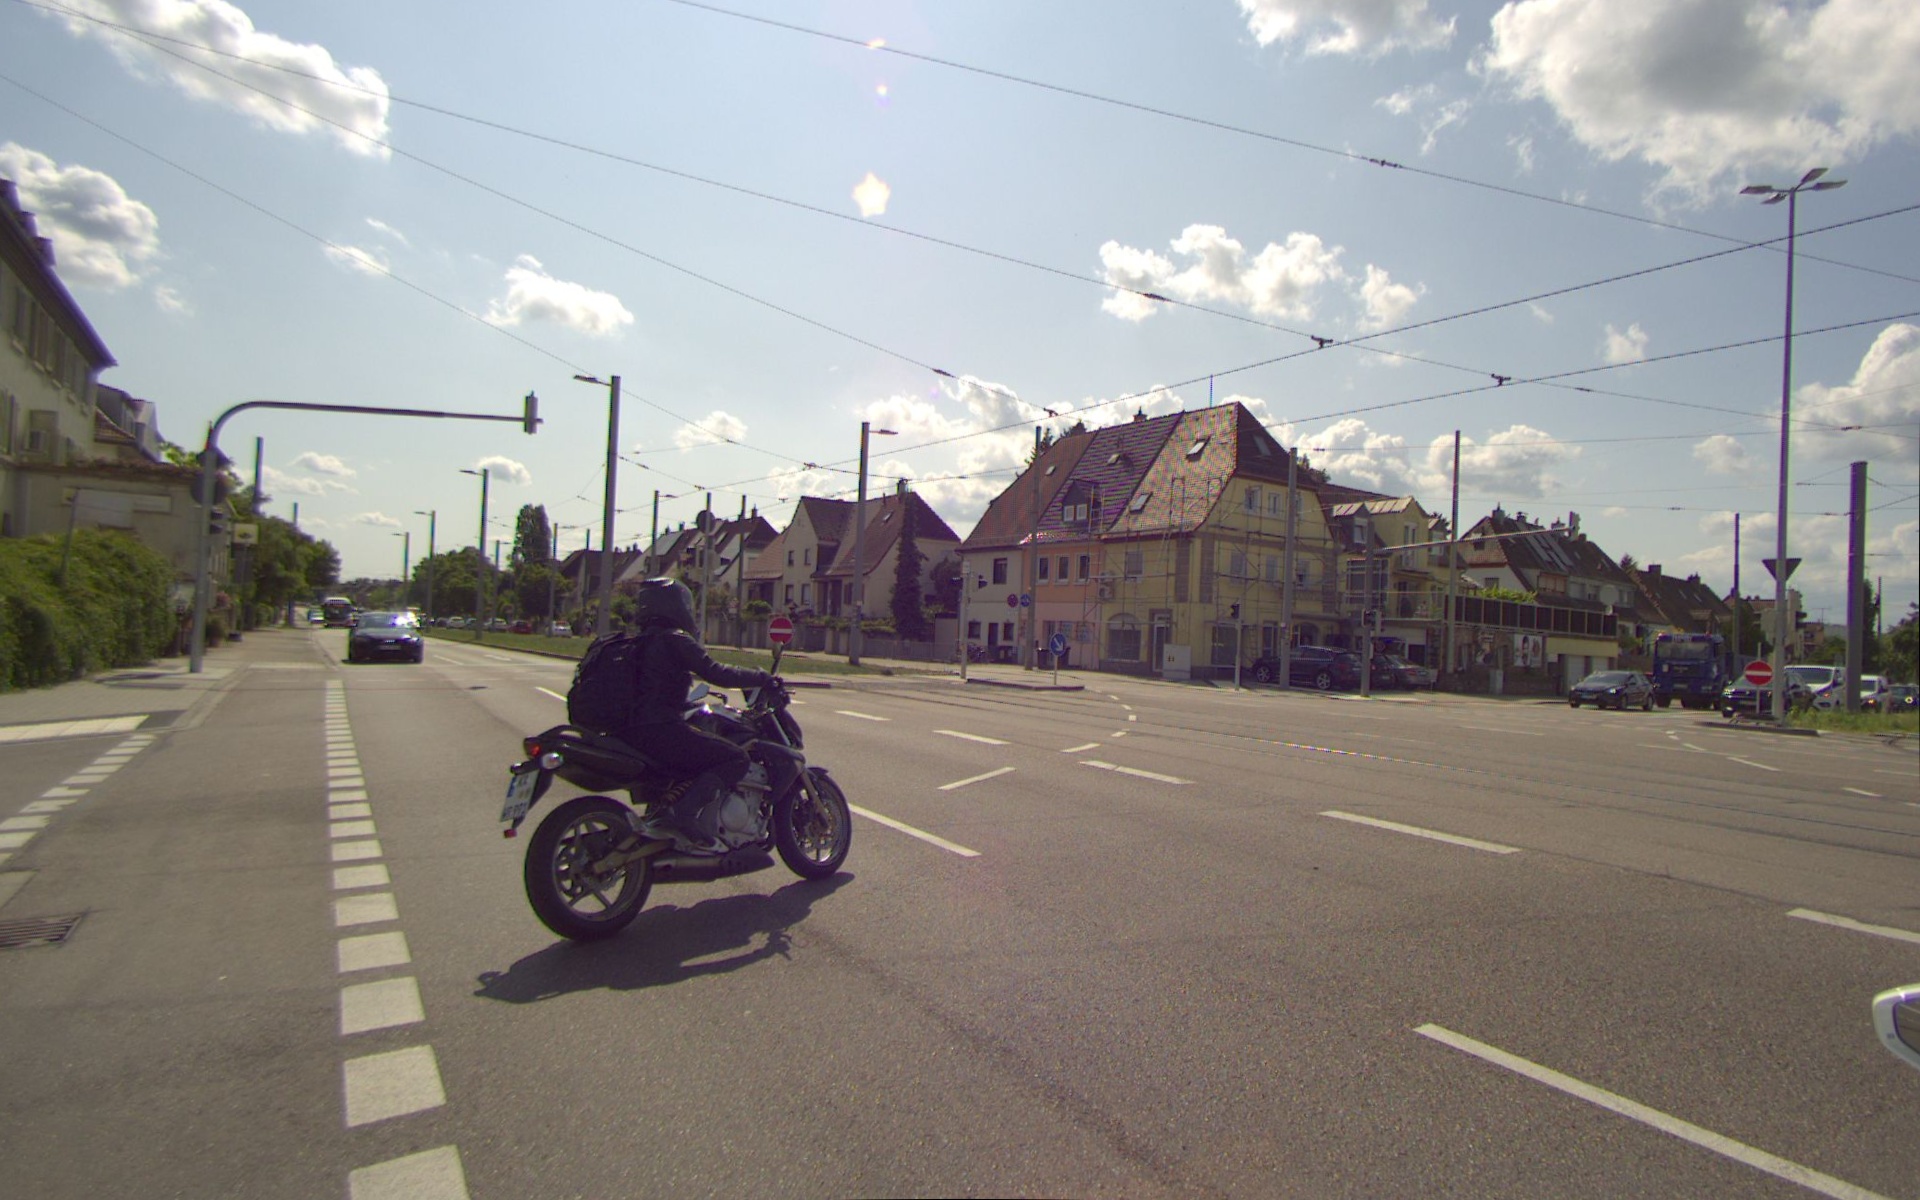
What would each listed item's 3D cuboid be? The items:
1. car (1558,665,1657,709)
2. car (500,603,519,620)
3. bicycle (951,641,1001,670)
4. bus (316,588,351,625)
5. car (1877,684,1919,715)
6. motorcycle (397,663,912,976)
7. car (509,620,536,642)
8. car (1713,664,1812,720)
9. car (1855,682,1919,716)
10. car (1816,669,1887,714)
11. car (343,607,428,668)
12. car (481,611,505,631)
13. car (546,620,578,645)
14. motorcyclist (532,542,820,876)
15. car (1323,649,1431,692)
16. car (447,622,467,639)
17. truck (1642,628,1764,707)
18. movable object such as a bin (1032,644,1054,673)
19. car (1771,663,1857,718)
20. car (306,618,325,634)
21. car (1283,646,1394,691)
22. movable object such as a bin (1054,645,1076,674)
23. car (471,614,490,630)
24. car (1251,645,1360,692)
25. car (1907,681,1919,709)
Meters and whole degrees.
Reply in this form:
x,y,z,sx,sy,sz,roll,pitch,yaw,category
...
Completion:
x,y,z,sx,sy,sz,roll,pitch,yaw,category
24.687,3.325,38.243,4.295,1.506,1.814,4,-3,-37,car
-60.271,1.544,134.403,1.976,2.040,3.970,3,-3,-29,car
0.793,2.778,50.424,2.430,1.373,0.770,3,-1,-31,bicycle
-70.161,0.657,112.342,2.378,3.826,11.900,4,-2,-36,bus
49.917,5.218,52.870,4.877,1.432,1.828,5,-3,-40,car
-1.351,0.907,4.990,0.831,1.142,2.348,1,-2,40,motorcycle
-43.157,3.028,99.042,1.976,2.040,3.969,3,-2,-29,car
28.173,3.192,35.232,4.403,1.743,1.772,3,-2,-38,car
44.523,4.716,48.107,3.968,1.437,1.899,5,-3,-40,car
39.248,4.020,44.211,4.370,1.805,1.718,4,-3,-40,car
-16.740,1.054,29.172,1.730,1.604,3.886,3,-2,-35,car
-50.080,2.270,107.688,1.976,2.040,3.969,3,-2,-29,car
-34.044,2.792,85.903,1.976,2.040,3.969,3,-2,-29,car
-1.375,0.455,4.932,0.813,1.417,1.095,2,1,40,motorcyclist
18.038,3.025,43.555,1.423,1.513,4.101,4,0,-39,car
-64.468,3.859,128.688,1.976,2.040,3.969,3,-2,-29,car
33.749,3.107,45.495,7.522,3.230,2.745,5,-3,-40,truck
3.770,2.680,45.897,0.675,1.277,0.677,3,-1,-35,movable object such as a bin
33.258,3.501,39.081,4.711,1.947,1.799,4,-2,-40,car
-87.521,3.567,136.303,1.980,2.040,3.962,3,-2,-34,car
15.793,2.848,42.094,1.495,1.513,4.101,4,0,-39,car
4.875,2.749,46.618,0.675,1.277,0.677,3,-1,-35,movable object such as a bin
-56.831,2.583,118.989,1.780,1.739,3.969,3,-2,-29,car
13.787,2.718,40.294,1.169,1.513,4.101,4,0,-39,car
55.332,5.453,56.873,4.815,1.513,1.829,4,-3,-39,car
